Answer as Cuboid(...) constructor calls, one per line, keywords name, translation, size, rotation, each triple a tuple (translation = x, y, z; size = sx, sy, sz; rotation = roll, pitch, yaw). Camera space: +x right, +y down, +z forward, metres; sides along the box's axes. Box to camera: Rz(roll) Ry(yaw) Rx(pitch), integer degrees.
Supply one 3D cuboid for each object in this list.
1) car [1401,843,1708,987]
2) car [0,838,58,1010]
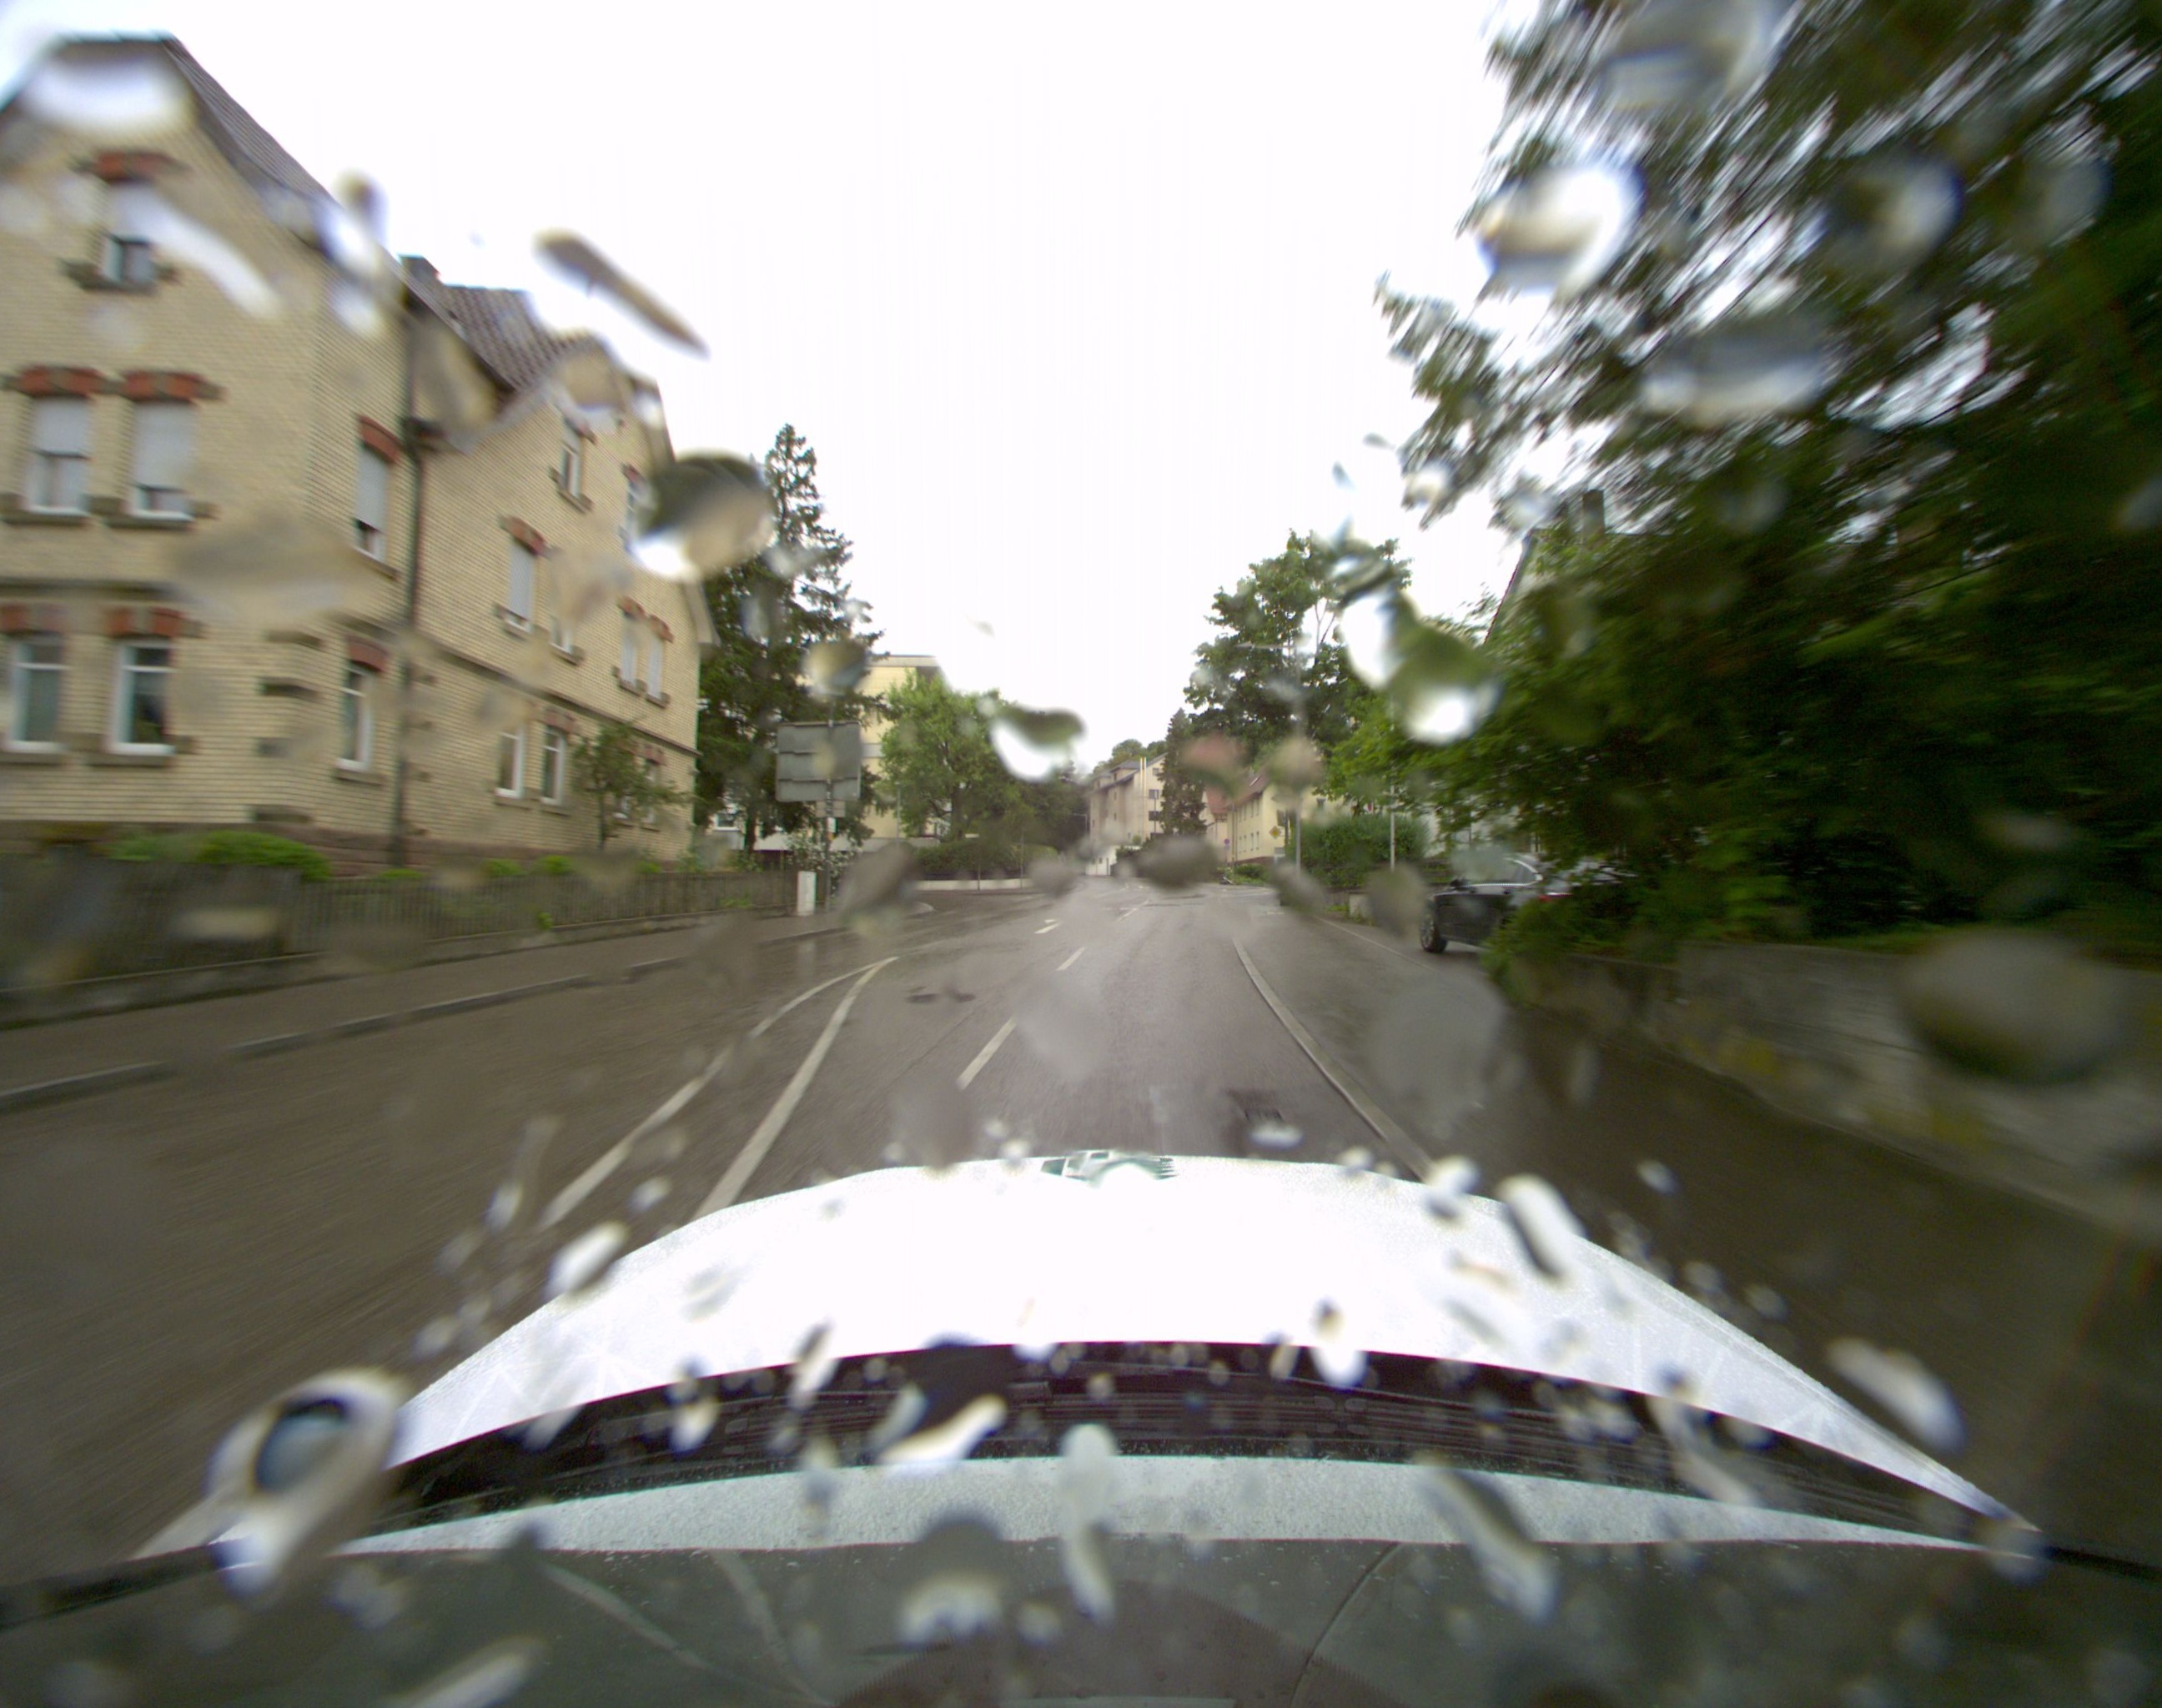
Cuboid(name="car", translation=(6.315, 0.713, 11.632), size=(1.773, 1.570, 4.730), rotation=(2, 0, 3))
Cuboid(name="car", translation=(-10.327, 0.593, 5.543), size=(1.765, 1.503, 3.882), rotation=(2, 0, 0))
